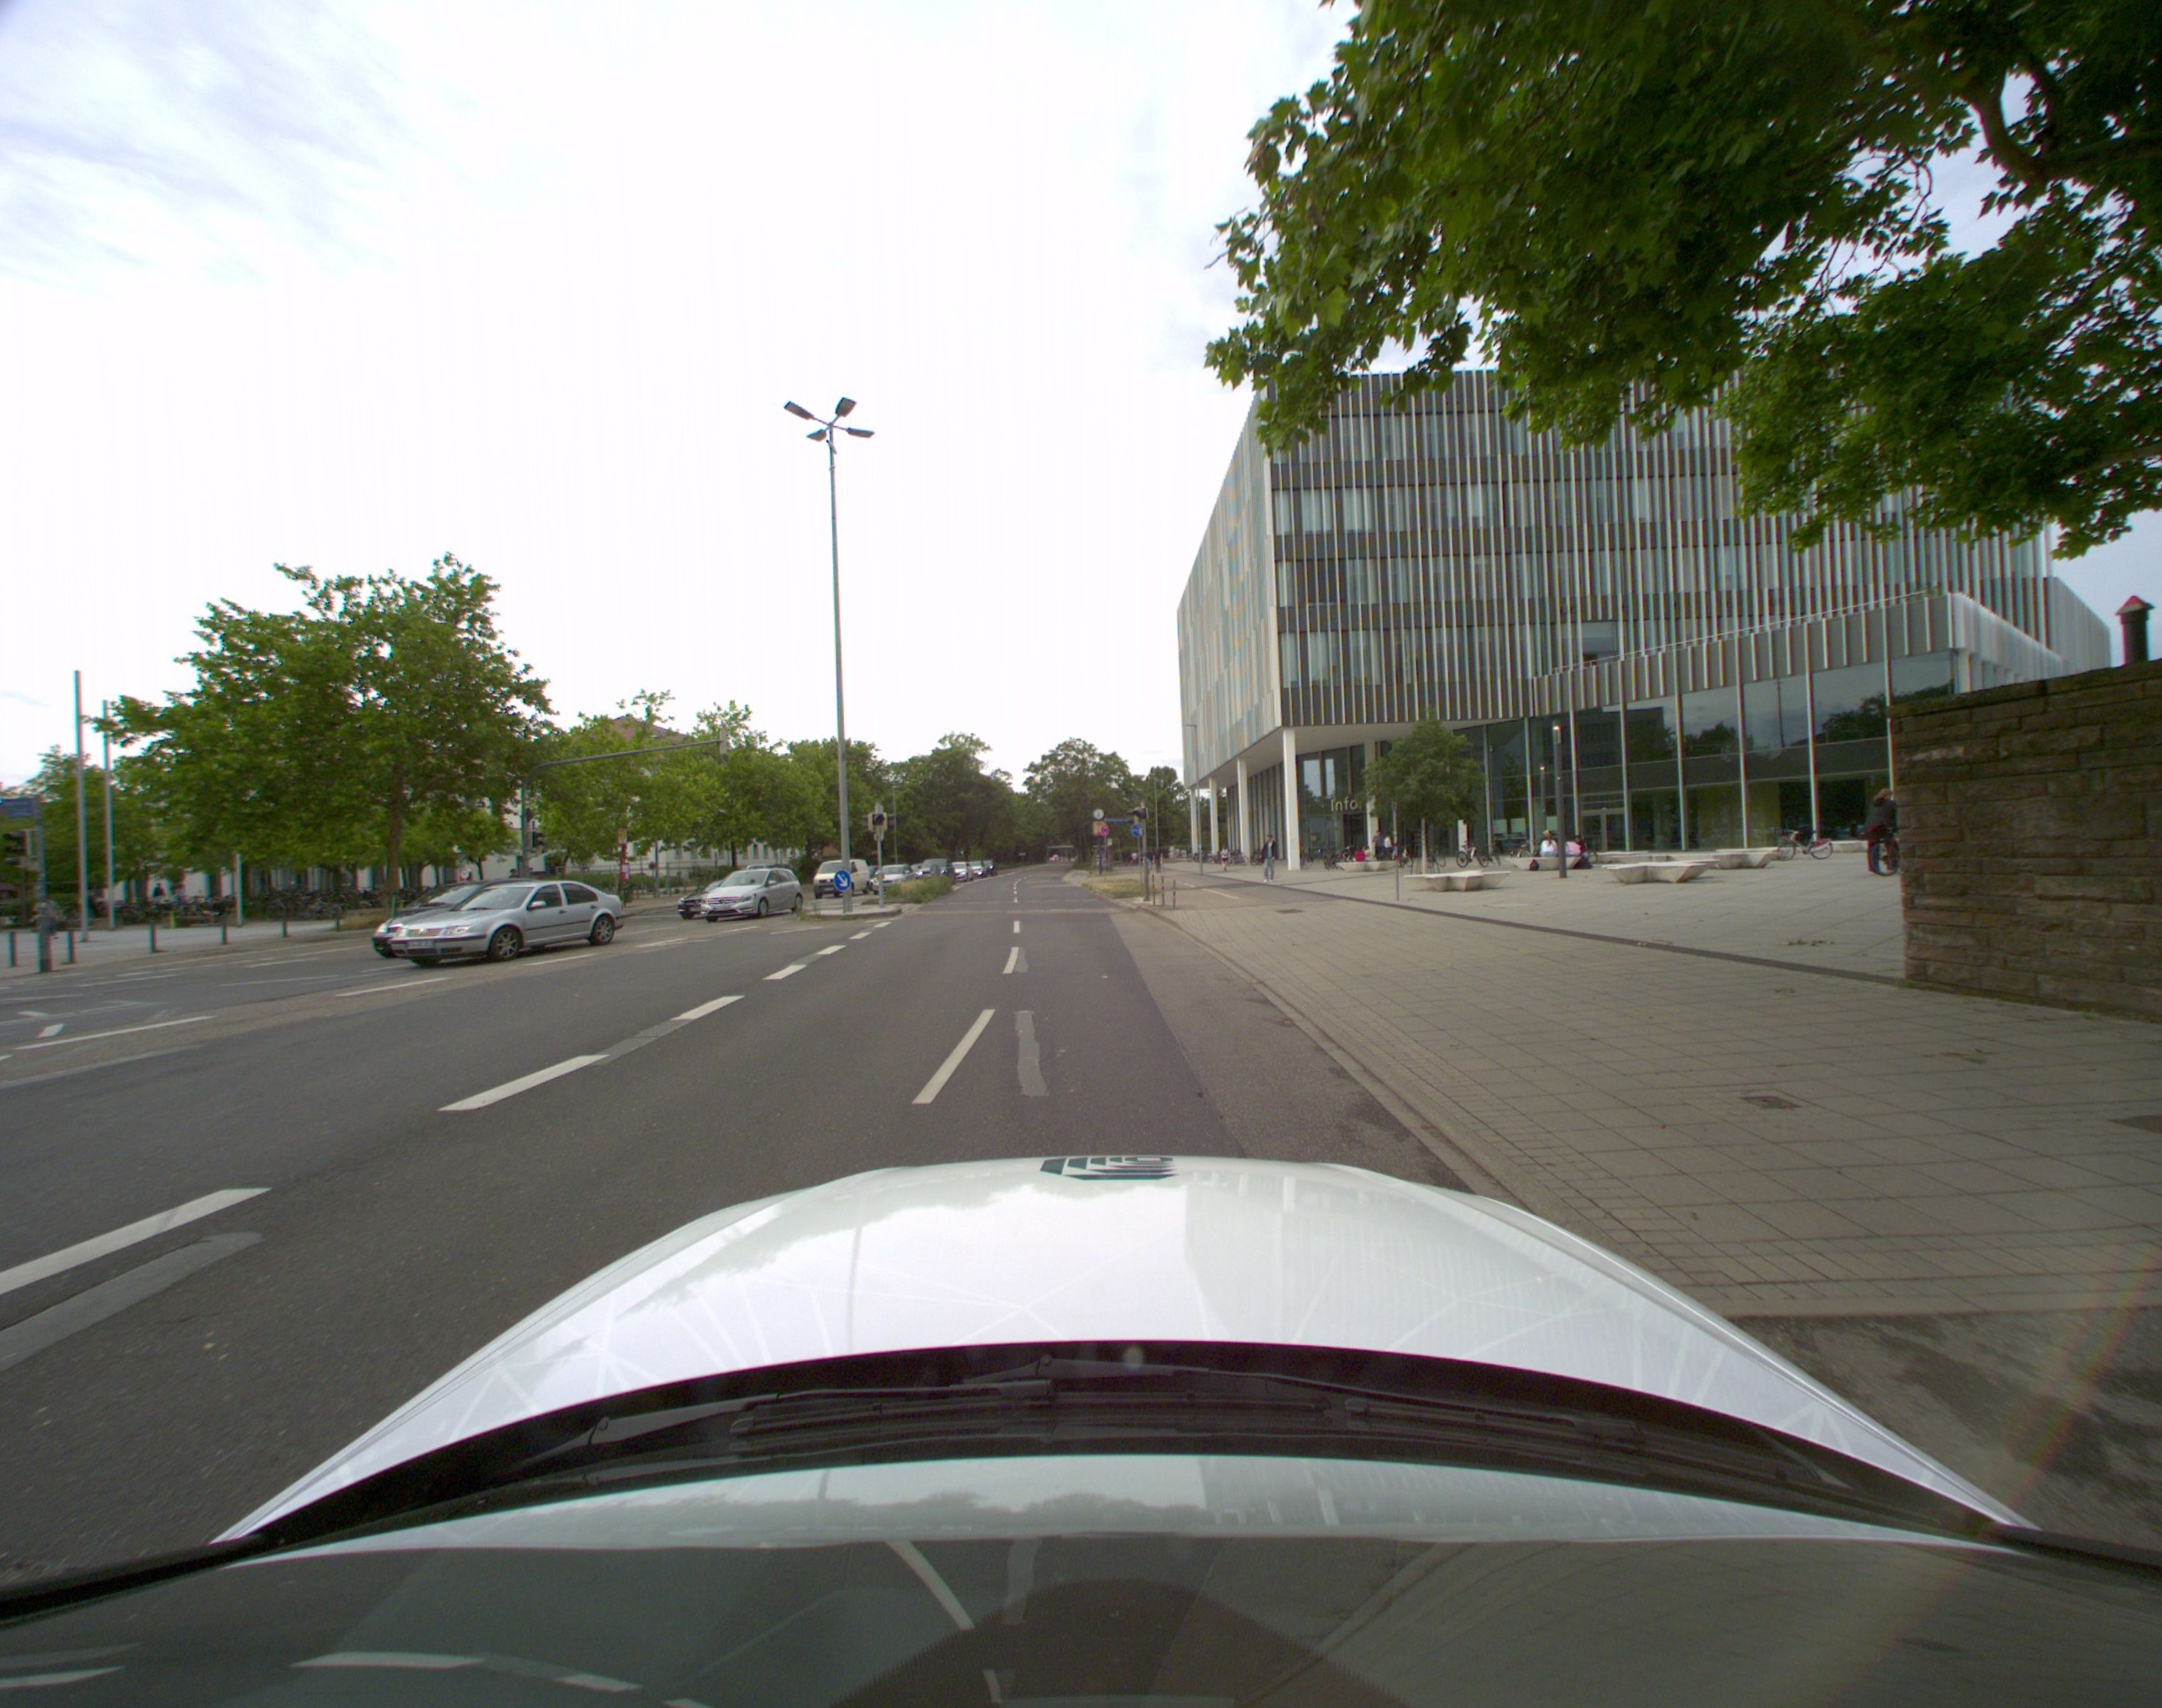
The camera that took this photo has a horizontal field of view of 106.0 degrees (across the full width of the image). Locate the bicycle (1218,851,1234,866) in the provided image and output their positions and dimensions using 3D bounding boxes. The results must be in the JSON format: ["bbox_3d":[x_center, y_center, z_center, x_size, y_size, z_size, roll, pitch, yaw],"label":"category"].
[{"bbox_3d":[11.058,0.347,62.062,0.634,1.140,2.198,-5,0,-4],"label":"bicycle"}]

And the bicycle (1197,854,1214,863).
[{"bbox_3d":[12.767,0.456,83.471,1.601,0.874,0.556,-3,0,0],"label":"bicycle"}]

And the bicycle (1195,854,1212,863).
[{"bbox_3d":[11.666,0.416,77.810,1.527,0.833,0.556,-3,0,0],"label":"bicycle"}]

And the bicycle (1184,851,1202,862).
[{"bbox_3d":[12.271,0.304,89.220,1.789,1.082,0.626,-5,0,-2],"label":"bicycle"}]

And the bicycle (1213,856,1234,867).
[{"bbox_3d":[12.084,0.632,69.104,1.601,0.875,0.556,-3,0,0],"label":"bicycle"}]

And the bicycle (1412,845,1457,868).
[{"bbox_3d":[17.045,0.122,39.231,2.198,1.006,0.774,-2,0,-30],"label":"bicycle"}]

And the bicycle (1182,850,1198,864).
[{"bbox_3d":[12.218,0.329,90.998,1.636,1.333,0.465,-5,-1,13],"label":"bicycle"}]

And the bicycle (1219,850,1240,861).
[{"bbox_3d":[12.205,0.125,66.822,1.601,0.875,0.556,-3,0,0],"label":"bicycle"}]

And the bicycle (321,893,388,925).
[{"bbox_3d":[-35.591,2.686,39.913,2.479,1.353,0.720,-3,0,-4],"label":"bicycle"}]

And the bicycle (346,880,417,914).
[{"bbox_3d":[-36.681,2.240,42.714,2.659,1.559,0.919,-2,0,-11],"label":"bicycle"}]

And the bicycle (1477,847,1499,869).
[{"bbox_3d":[18.406,0.170,36.842,1.481,0.899,0.389,-3,0,-44],"label":"bicycle"}]

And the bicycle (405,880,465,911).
[{"bbox_3d":[-36.141,2.327,45.591,2.445,1.559,0.919,-2,0,-11],"label":"bicycle"}]

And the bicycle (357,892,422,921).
[{"bbox_3d":[-35.480,2.688,41.801,2.530,1.269,0.720,-3,0,-4],"label":"bicycle"}]

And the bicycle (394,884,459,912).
[{"bbox_3d":[-35.759,2.383,44.489,2.812,1.329,0.720,-3,0,-4],"label":"bicycle"}]

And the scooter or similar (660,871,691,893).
[{"bbox_3d":[-24.810,1.703,49.793,1.569,1.244,0.566,-3,-1,0],"label":"scooter or similar"}]

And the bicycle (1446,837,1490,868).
[{"bbox_3d":[18.017,-0.092,37.918,2.010,1.306,0.641,-4,1,-22],"label":"bicycle"}]

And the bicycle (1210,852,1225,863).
[{"bbox_3d":[12.163,0.301,72.601,1.278,0.874,0.556,-3,0,0],"label":"bicycle"}]

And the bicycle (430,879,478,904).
[{"bbox_3d":[-41.973,2.528,54.528,3.054,1.559,0.927,-3,0,17],"label":"bicycle"}]

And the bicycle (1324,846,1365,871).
[{"bbox_3d":[14.075,0.235,43.457,2.735,1.188,0.765,-3,0,-42],"label":"bicycle"}]

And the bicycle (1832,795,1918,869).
[{"bbox_3d":[16.546,-0.459,16.969,1.648,1.470,0.599,-3,0,-21],"label":"bicycle"}]

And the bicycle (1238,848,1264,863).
[{"bbox_3d":[14.162,0.126,67.893,1.962,1.144,0.652,-5,0,41],"label":"bicycle"}]

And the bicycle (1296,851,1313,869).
[{"bbox_3d":[12.889,0.343,47.003,0.635,1.061,1.843,-1,0,5],"label":"bicycle"}]

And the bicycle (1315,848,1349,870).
[{"bbox_3d":[13.855,0.247,44.888,2.195,1.115,0.727,-3,0,-43],"label":"bicycle"}]

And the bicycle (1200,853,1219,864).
[{"bbox_3d":[11.613,0.406,73.404,1.601,0.874,0.556,-3,0,0],"label":"bicycle"}]

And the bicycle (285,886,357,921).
[{"bbox_3d":[-37.993,2.477,40.711,2.654,1.559,0.779,-2,0,-6],"label":"bicycle"}]

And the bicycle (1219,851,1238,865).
[{"bbox_3d":[11.895,0.346,65.653,1.395,1.043,0.559,-5,0,0],"label":"bicycle"}]

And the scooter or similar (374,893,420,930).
[{"bbox_3d":[-22.911,1.925,27.296,0.359,1.140,1.319,-3,0,1],"label":"scooter or similar"}]

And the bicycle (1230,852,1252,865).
[{"bbox_3d":[12.710,0.345,64.739,1.596,0.936,0.570,-5,0,10],"label":"bicycle"}]

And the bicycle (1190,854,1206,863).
[{"bbox_3d":[12.410,0.453,86.263,1.601,0.874,0.556,-3,0,0],"label":"bicycle"}]

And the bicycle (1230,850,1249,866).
[{"bbox_3d":[11.525,0.319,59.259,0.608,1.080,1.955,-4,0,-11],"label":"bicycle"}]

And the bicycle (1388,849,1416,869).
[{"bbox_3d":[16.104,0.256,40.806,0.663,0.899,1.857,-3,0,41],"label":"bicycle"}]

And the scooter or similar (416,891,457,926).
[{"bbox_3d":[-22.867,1.928,28.918,0.359,1.140,1.319,-3,0,1],"label":"scooter or similar"}]

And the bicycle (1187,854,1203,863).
[{"bbox_3d":[11.079,0.430,79.046,1.450,0.839,0.556,-3,0,0],"label":"bicycle"}]

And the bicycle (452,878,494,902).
[{"bbox_3d":[-42.247,2.505,56.567,2.637,1.559,0.927,-3,0,17],"label":"bicycle"}]

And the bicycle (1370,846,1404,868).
[{"bbox_3d":[15.605,0.157,41.519,1.971,1.002,0.765,-3,0,-42],"label":"bicycle"}]

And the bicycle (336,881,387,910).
[{"bbox_3d":[-41.629,2.404,47.142,2.637,1.559,0.927,-3,0,17],"label":"bicycle"}]

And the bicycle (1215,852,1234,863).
[{"bbox_3d":[13.013,0.306,73.886,1.682,0.947,0.517,-3,0,6],"label":"bicycle"}]

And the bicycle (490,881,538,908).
[{"bbox_3d":[-36.034,2.549,51.752,2.394,1.594,0.720,-3,0,-4],"label":"bicycle"}]

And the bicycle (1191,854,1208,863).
[{"bbox_3d":[12.447,0.453,85.676,1.601,0.874,0.556,-4,0,0],"label":"bicycle"}]
